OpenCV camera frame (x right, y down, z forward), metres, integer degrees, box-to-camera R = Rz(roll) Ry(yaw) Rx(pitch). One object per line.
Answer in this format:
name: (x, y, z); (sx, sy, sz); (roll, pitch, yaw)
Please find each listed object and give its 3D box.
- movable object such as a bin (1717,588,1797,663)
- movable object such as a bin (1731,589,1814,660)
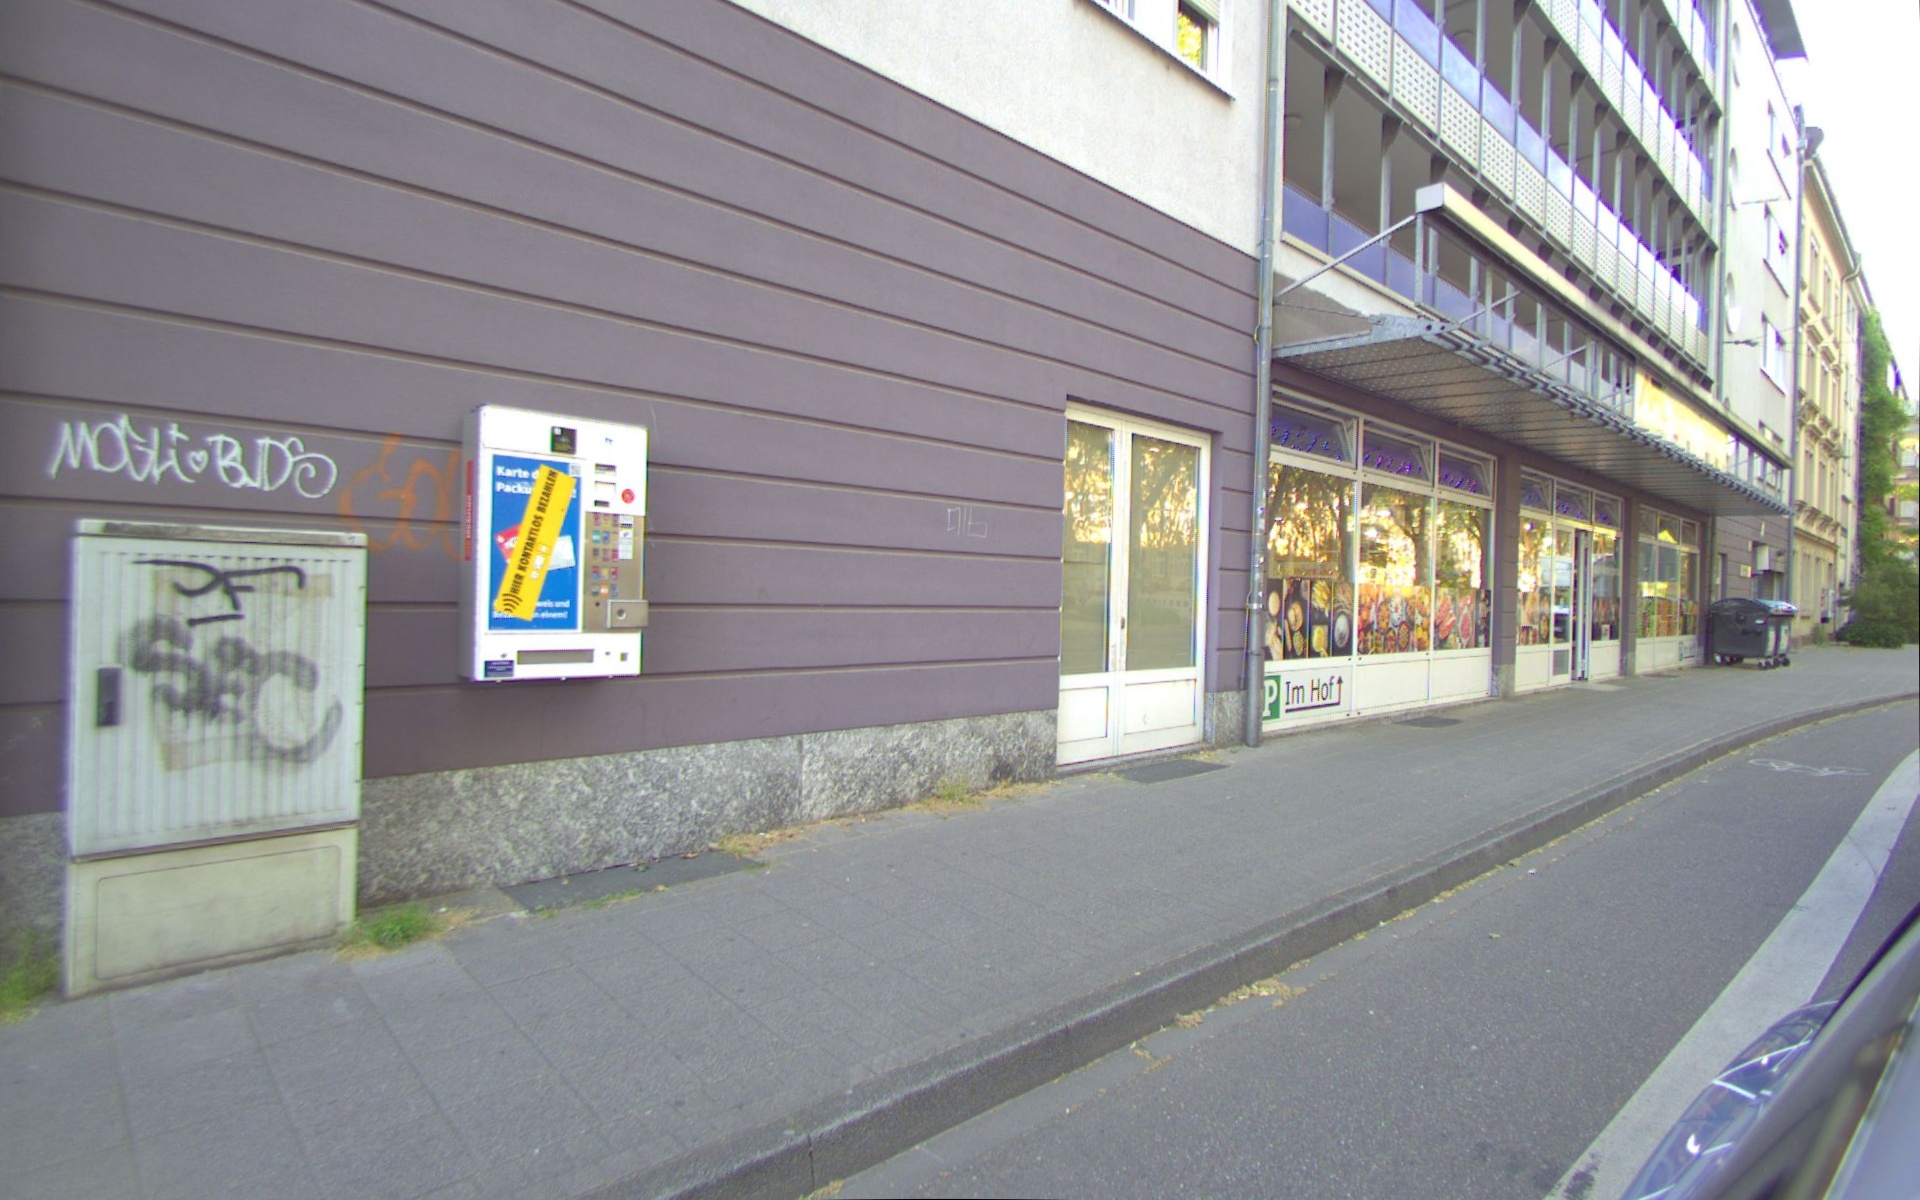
movable object such as a bin: (16.444, 0.497, 20.874); (1.274, 1.465, 1.068); (1, 1, -42)
movable object such as a bin: (17.793, 0.517, 22.161); (1.282, 1.464, 1.123); (1, 1, -38)
